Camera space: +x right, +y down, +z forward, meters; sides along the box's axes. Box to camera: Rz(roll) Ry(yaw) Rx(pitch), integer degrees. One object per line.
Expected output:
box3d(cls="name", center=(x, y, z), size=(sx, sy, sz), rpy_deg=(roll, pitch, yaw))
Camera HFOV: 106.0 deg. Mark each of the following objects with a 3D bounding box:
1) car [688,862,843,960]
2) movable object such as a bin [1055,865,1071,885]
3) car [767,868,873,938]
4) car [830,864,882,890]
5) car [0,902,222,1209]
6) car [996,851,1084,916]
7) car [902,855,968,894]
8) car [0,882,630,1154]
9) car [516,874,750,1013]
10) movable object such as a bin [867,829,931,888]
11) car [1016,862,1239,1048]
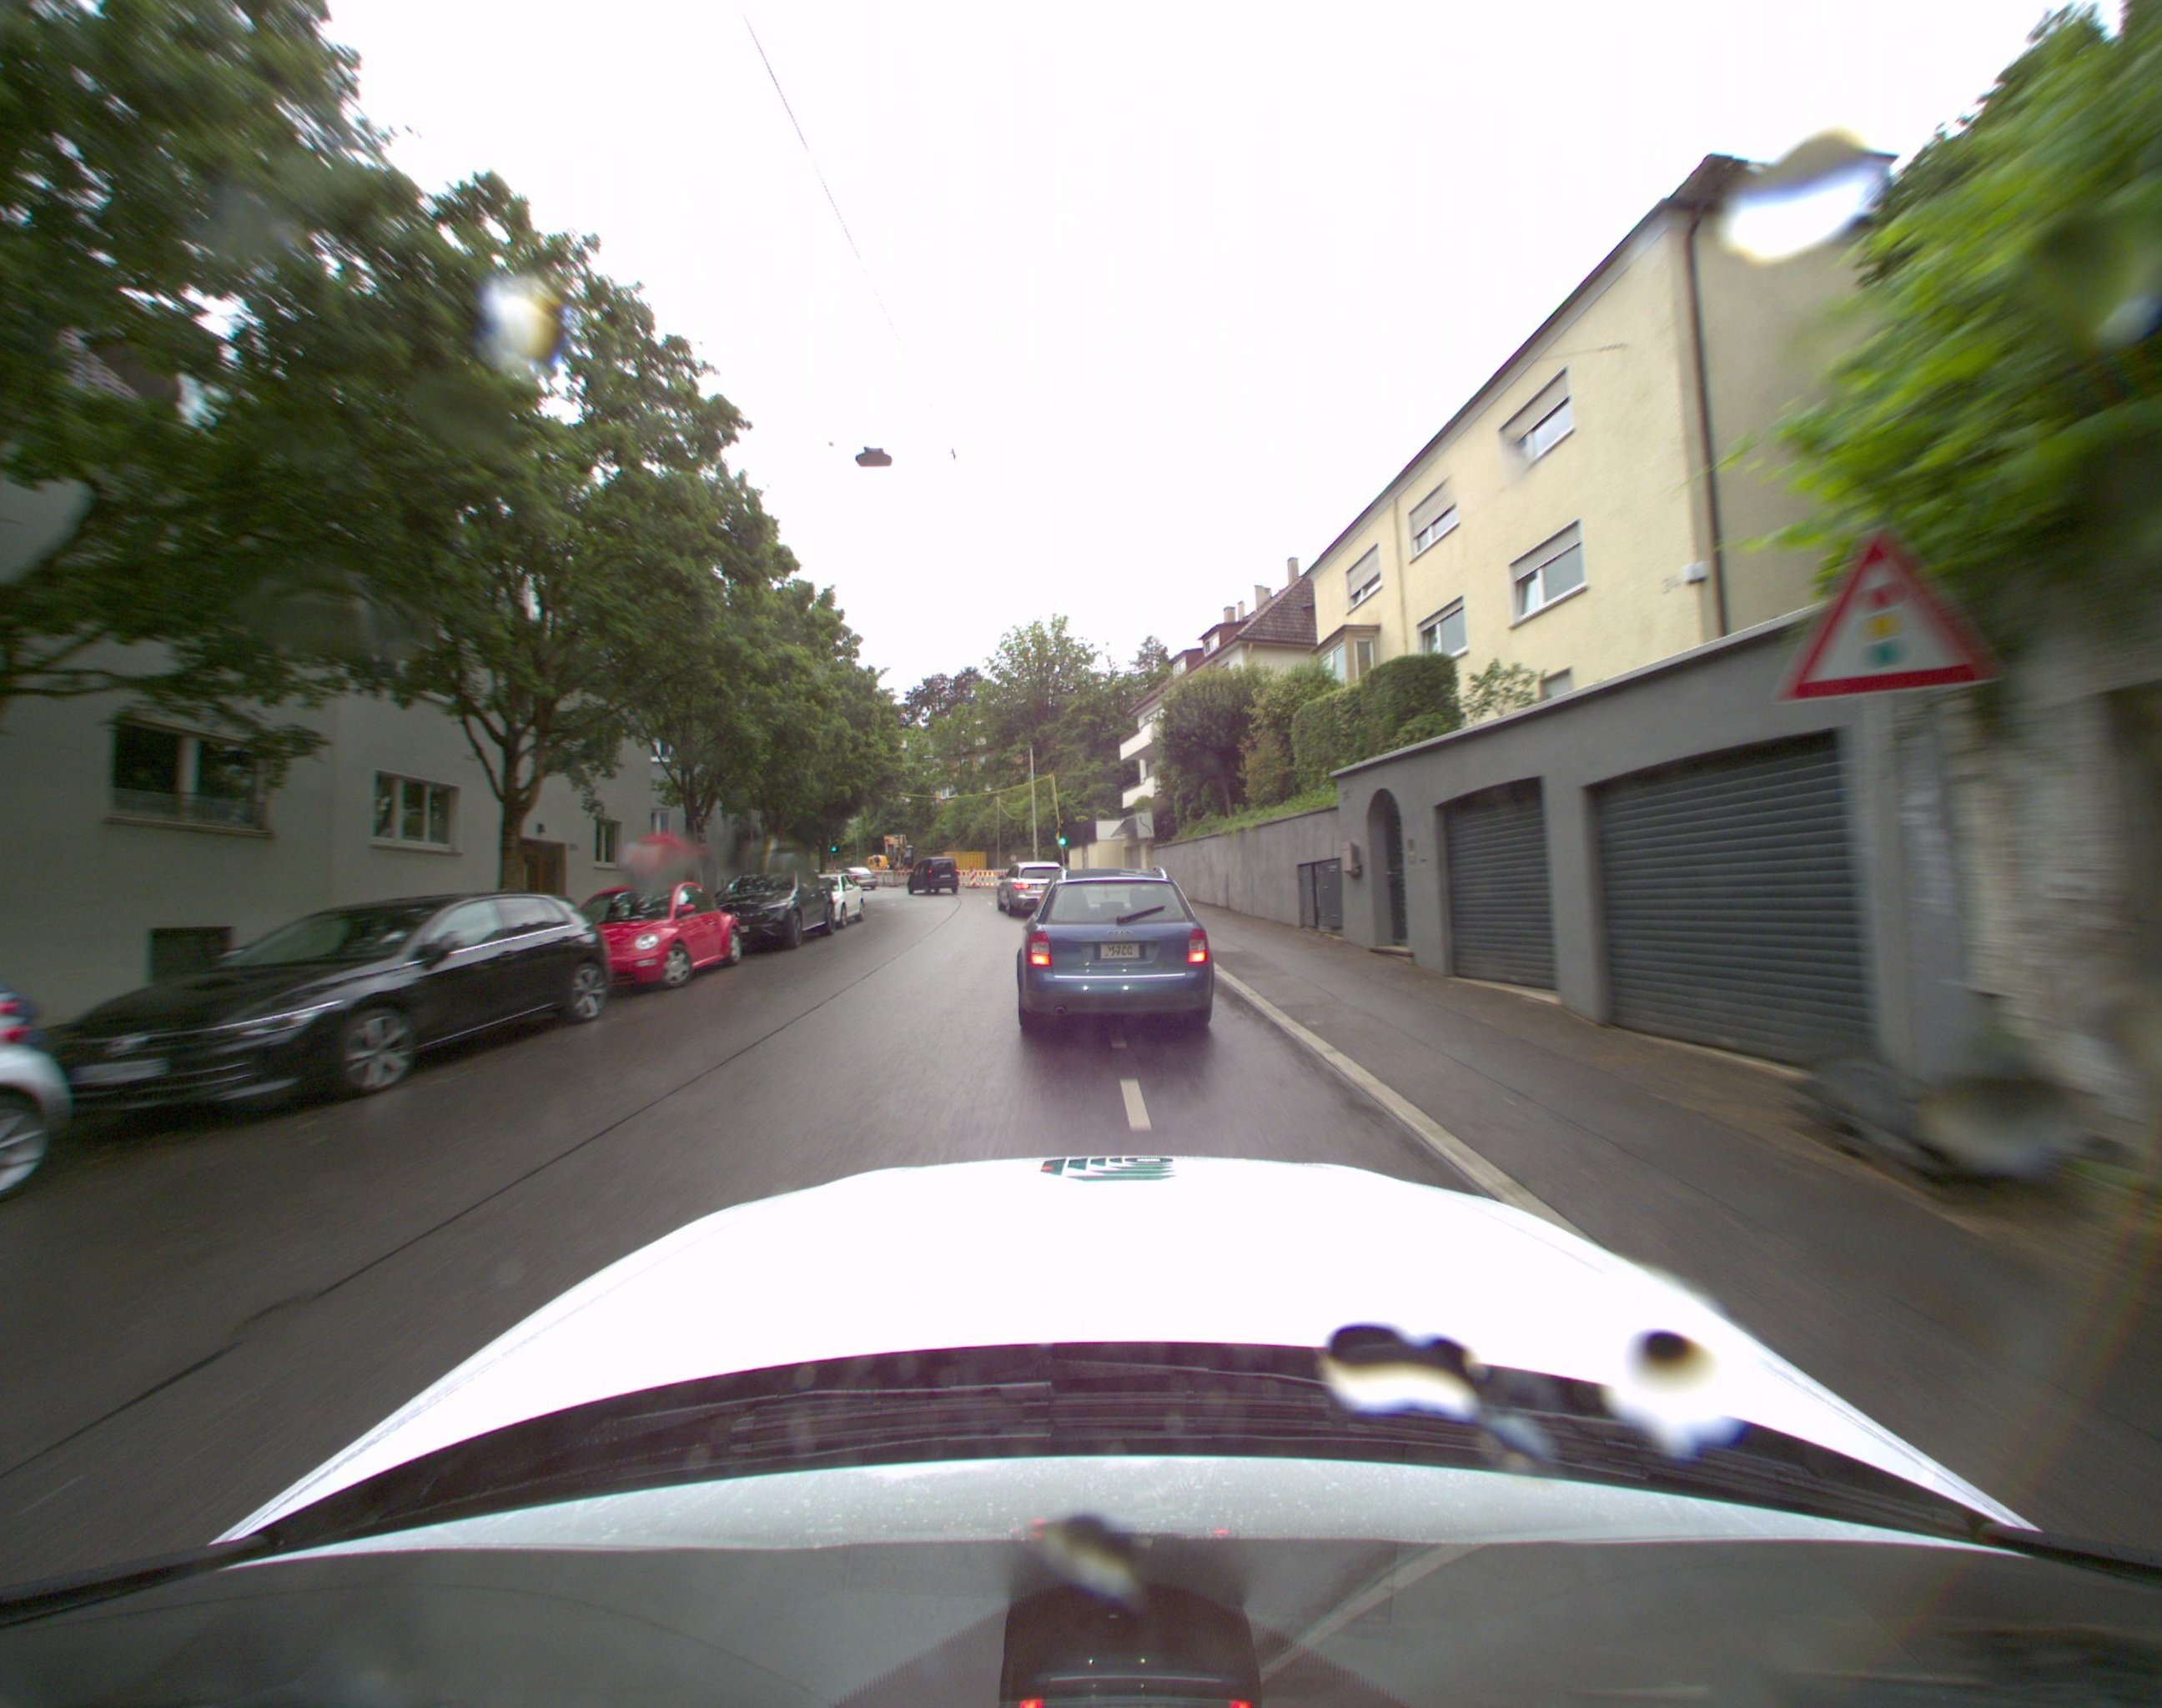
box3d(cls="car", center=(-6.526, 1.078, 17.435), size=(1.679, 1.608, 4.569), rpy_deg=(-7, 0, -5))
box3d(cls="movable object such as a bin", center=(-0.966, 1.140, 43.825), size=(0.719, 1.032, 0.590), rpy_deg=(-2, -1, -9))
box3d(cls="car", center=(-7.050, 1.256, 22.426), size=(1.679, 1.508, 4.309), rpy_deg=(-5, 0, -4))
box3d(cls="car", center=(-14.444, 1.490, 52.138), size=(1.735, 1.486, 4.030), rpy_deg=(-3, 0, -38))
box3d(cls="car", center=(-6.330, 1.112, 3.482), size=(1.549, 1.510, 3.385), rpy_deg=(-6, -1, 2))
box3d(cls="car", center=(-1.280, 0.775, 23.348), size=(1.927, 1.618, 4.304), rpy_deg=(-2, 0, -11))
box3d(cls="car", center=(-7.558, 1.050, 41.872), size=(2.007, 1.794, 3.960), rpy_deg=(-3, 0, -31))
box3d(cls="car", center=(-5.978, 1.100, 7.190), size=(1.550, 1.488, 4.097), rpy_deg=(-6, -1, 0))
box3d(cls="car", center=(-6.407, 1.176, 12.170), size=(1.632, 1.564, 3.838), rpy_deg=(-6, -1, -7))
box3d(cls="movable object such as a bin", center=(-13.589, 0.317, 60.253), size=(2.835, 4.014, 7.262), rpy_deg=(-2, 0, -27))
box3d(cls="car", center=(0.262, 0.817, 8.467), size=(1.782, 1.442, 3.958), rpy_deg=(0, -1, -3))
